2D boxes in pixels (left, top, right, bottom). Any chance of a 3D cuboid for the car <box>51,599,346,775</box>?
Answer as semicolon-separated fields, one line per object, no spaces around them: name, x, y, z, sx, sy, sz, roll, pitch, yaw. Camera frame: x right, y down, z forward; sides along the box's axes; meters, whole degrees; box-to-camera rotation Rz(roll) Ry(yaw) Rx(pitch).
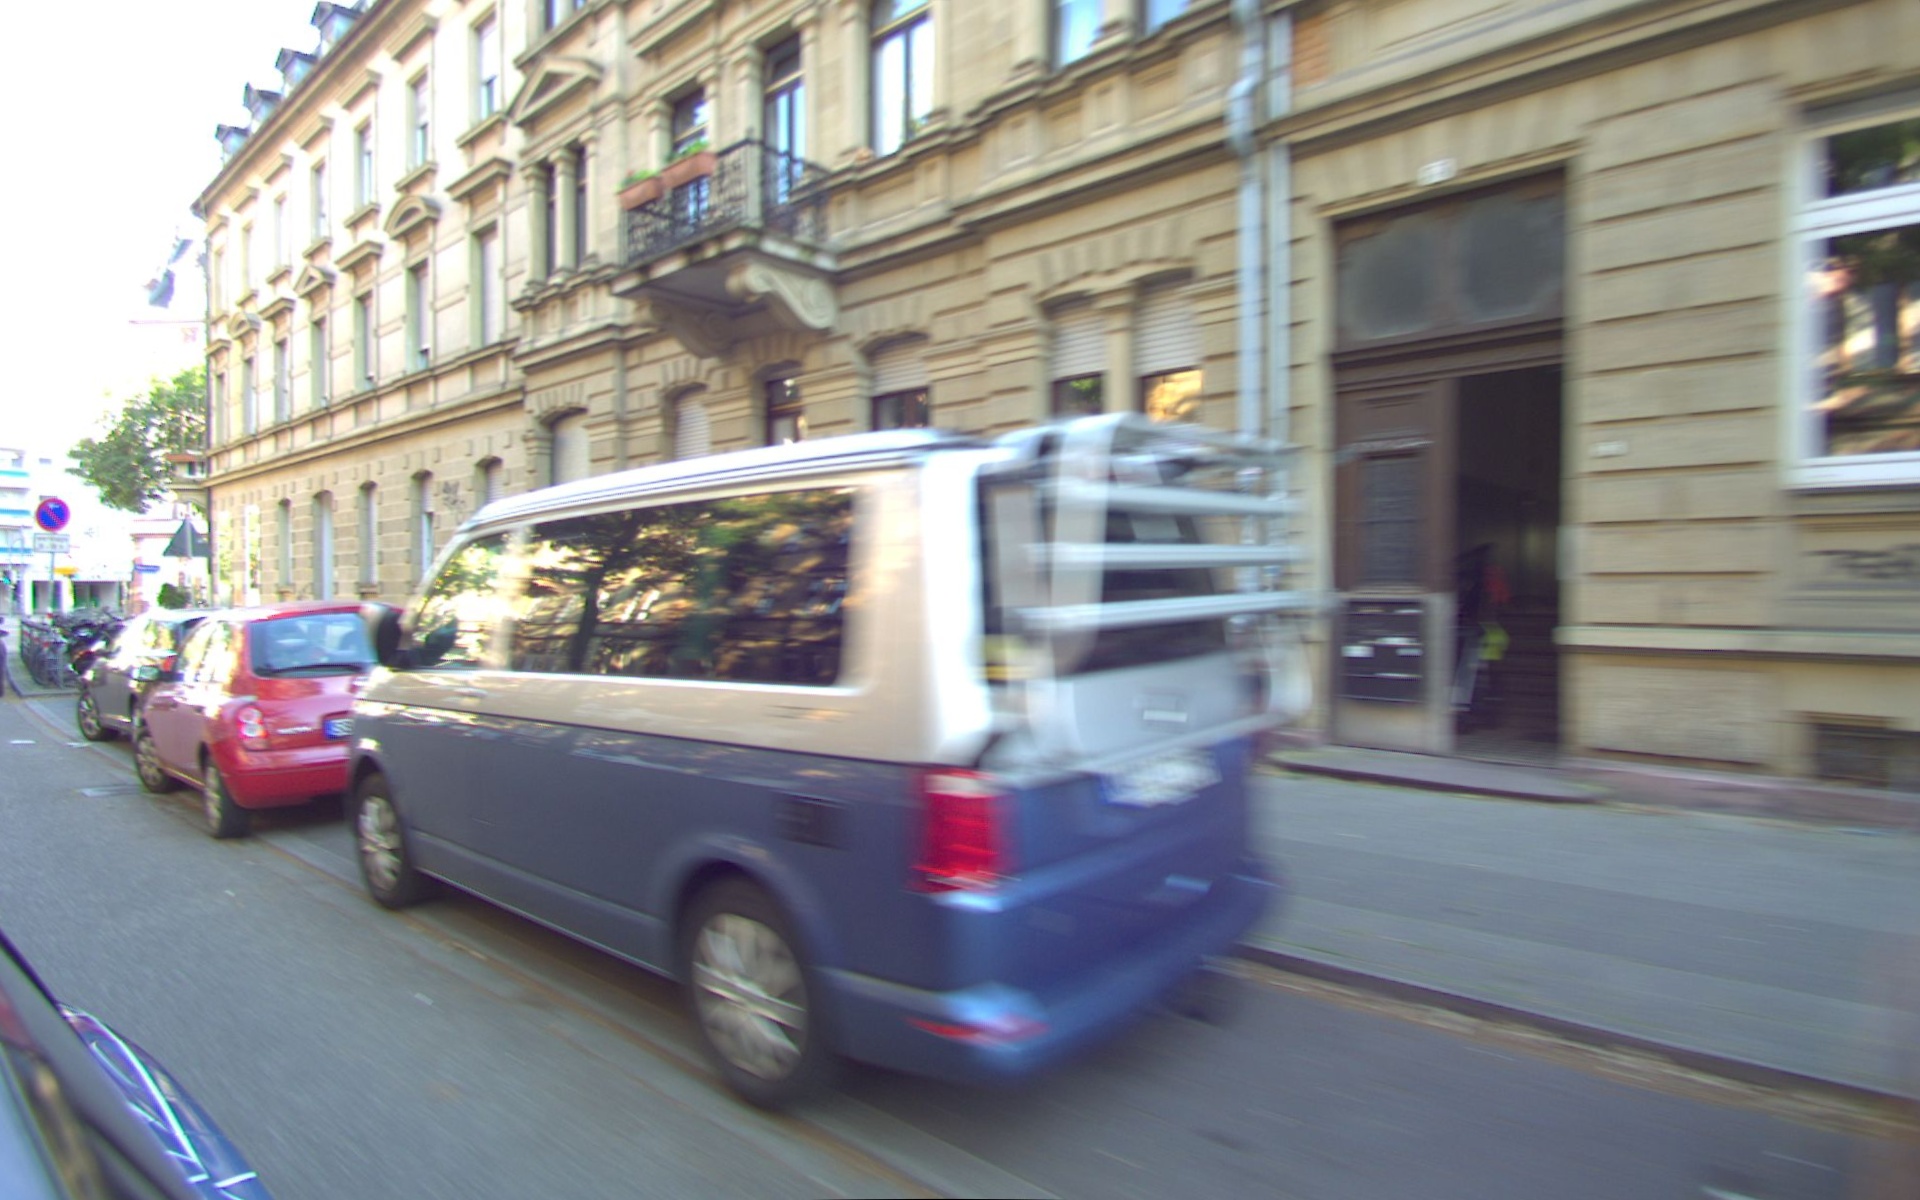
car;-8.385;0.787;11.015;4.058;1.512;1.740;-1;1;41

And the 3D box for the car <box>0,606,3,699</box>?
car;-17.498;0.852;17.098;4.061;1.512;1.739;-1;-1;44

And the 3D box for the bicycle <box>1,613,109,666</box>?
bicycle;-21.276;0.902;23.817;0.528;1.137;1.846;0;2;44

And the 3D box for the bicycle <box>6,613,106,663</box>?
bicycle;-23.012;0.951;25.779;0.528;1.137;1.846;0;2;44

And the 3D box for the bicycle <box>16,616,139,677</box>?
bicycle;-18.214;0.932;20.927;0.528;1.137;1.848;0;2;41

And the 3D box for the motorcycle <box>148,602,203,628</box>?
motorcycle;-39.406;0.738;50.843;0.836;1.274;2.099;0;0;16

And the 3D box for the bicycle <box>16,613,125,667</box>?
bicycle;-20.644;0.915;23.513;0.528;1.137;1.846;0;2;44

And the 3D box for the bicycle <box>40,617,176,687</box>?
bicycle;-15.702;0.932;18.700;0.528;1.137;1.848;0;2;41

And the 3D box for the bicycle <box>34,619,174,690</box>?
bicycle;-15.364;0.950;18.201;0.528;1.137;1.848;0;2;41

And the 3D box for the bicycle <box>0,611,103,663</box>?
bicycle;-22.124;0.881;24.655;0.528;1.137;1.846;0;2;44

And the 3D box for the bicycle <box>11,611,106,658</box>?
bicycle;-24.069;0.895;27.054;0.528;1.137;1.846;0;2;44

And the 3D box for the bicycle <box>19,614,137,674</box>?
bicycle;-18.681;0.912;21.478;0.524;1.137;1.862;0;1;19

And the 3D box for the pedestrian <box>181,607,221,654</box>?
pedestrian;-20.413;0.812;27.218;0.756;1.223;0.718;0;0;39

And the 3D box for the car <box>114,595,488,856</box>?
car;-5.204;0.748;7.791;3.700;1.486;1.575;-1;1;44

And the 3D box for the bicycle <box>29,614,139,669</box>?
bicycle;-20.065;0.932;23.218;0.528;1.137;1.846;0;2;44

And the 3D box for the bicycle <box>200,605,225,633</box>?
bicycle;-33.165;0.811;44.887;0.539;1.205;2.961;0;0;-44

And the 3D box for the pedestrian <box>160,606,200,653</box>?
pedestrian;-21.568;0.795;27.987;0.756;1.268;0.718;0;0;39

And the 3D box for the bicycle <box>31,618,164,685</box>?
bicycle;-16.263;0.947;19.124;0.528;1.137;1.848;0;2;41

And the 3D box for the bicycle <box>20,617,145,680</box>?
bicycle;-17.734;0.948;20.494;0.528;1.137;1.848;0;2;41

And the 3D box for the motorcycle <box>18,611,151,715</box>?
motorcycle;-12.921;0.869;14.905;2.604;1.380;1.055;0;0;40

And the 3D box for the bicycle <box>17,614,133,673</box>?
bicycle;-19.111;0.917;21.911;0.524;1.137;1.862;0;1;19

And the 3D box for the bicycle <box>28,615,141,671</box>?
bicycle;-19.618;0.947;22.703;0.528;1.137;1.846;0;2;44

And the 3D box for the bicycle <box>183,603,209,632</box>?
bicycle;-33.579;0.746;44.471;0.539;1.205;2.961;0;0;-44

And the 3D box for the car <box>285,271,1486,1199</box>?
car;-0.934;0.395;4.216;5.258;1.957;1.813;-1;1;42

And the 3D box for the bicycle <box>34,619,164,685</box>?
bicycle;-16.691;0.974;19.656;0.528;1.137;1.848;0;2;41

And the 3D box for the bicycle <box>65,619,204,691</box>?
bicycle;-14.727;0.960;18.108;0.528;1.137;1.848;0;2;41
